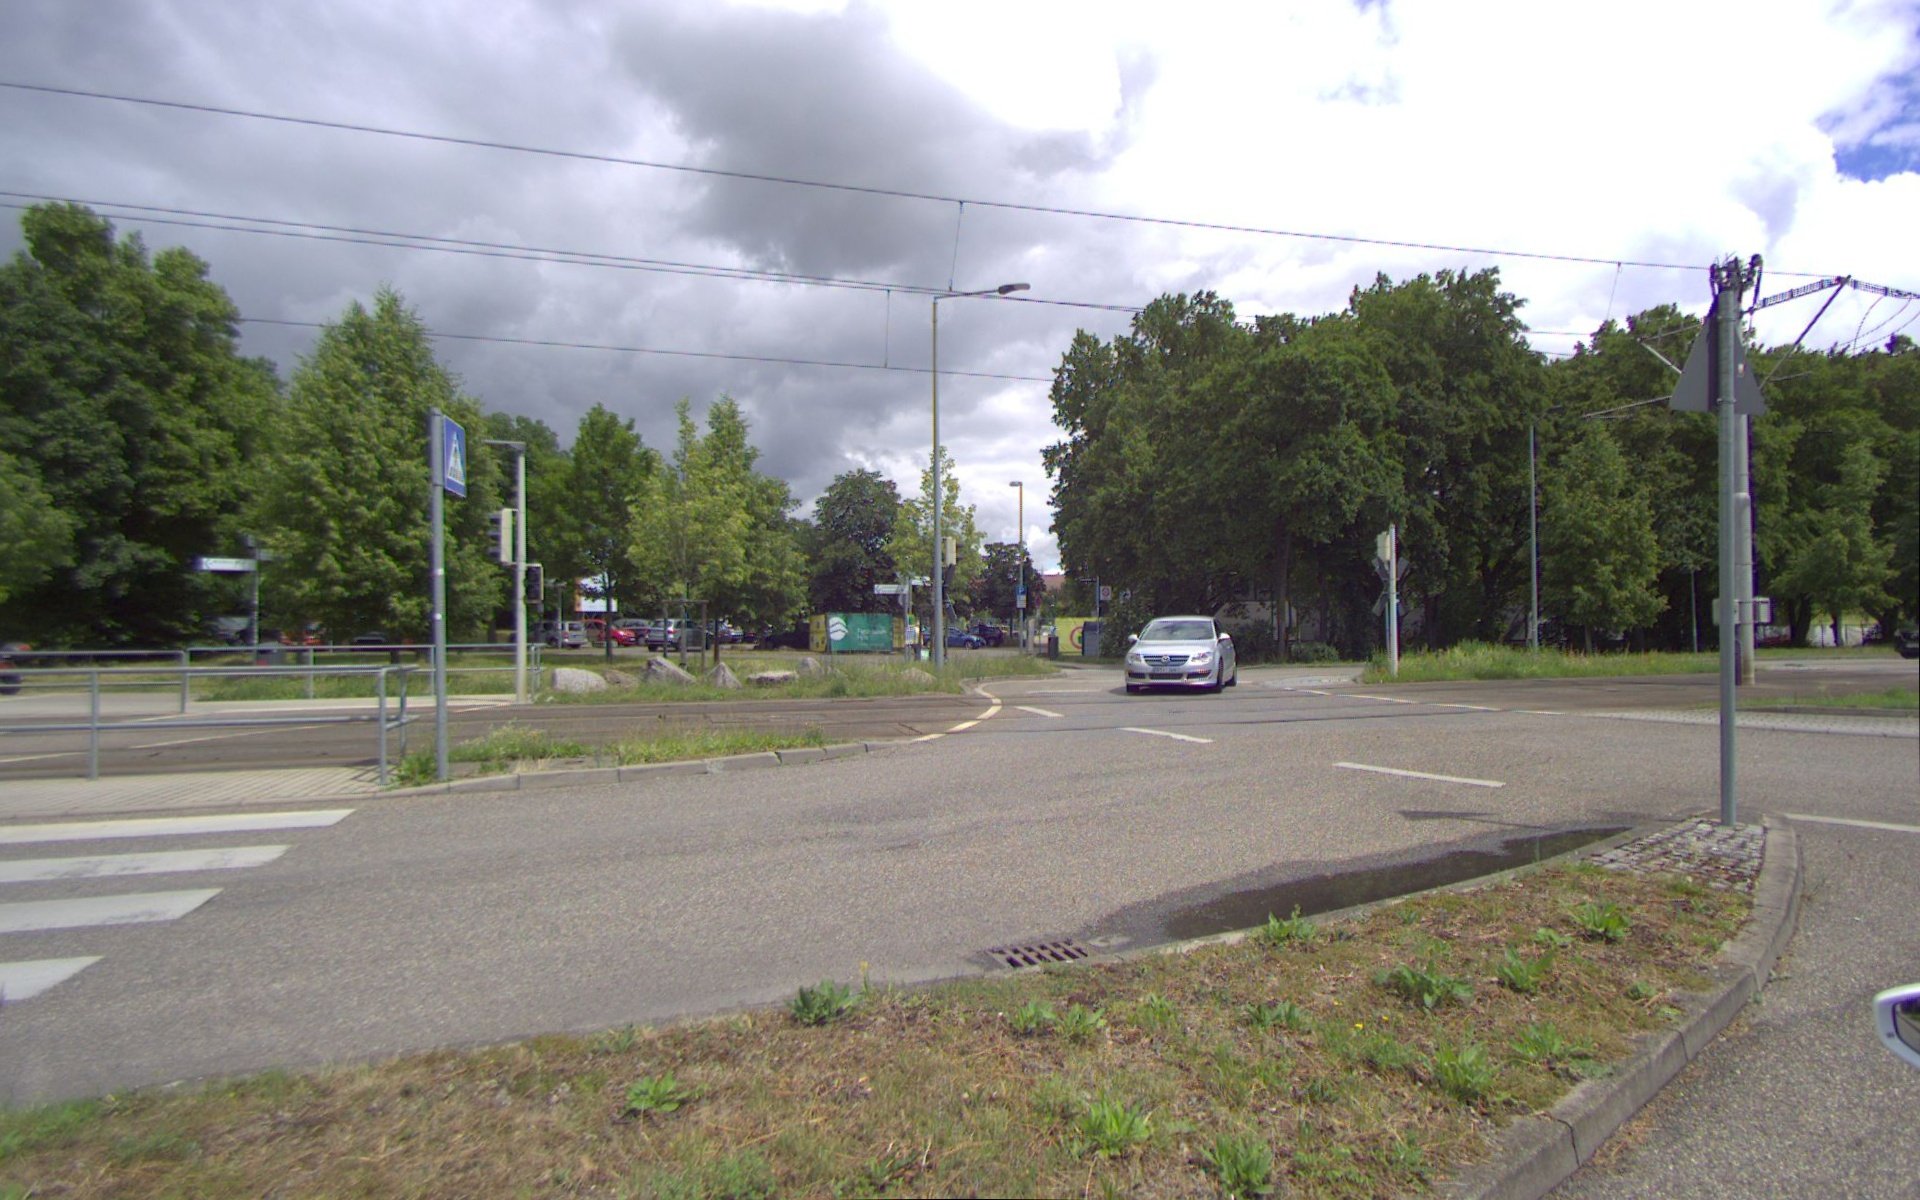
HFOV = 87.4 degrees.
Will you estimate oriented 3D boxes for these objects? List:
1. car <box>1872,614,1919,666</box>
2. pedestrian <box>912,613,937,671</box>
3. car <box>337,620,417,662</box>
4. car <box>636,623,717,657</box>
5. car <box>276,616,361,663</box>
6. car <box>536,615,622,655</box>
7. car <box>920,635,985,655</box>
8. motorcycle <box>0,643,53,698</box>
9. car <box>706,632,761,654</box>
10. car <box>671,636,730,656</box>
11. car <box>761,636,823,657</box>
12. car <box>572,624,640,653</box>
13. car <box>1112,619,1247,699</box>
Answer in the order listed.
[{"bbox_3d":[31.900,1.264,32.036,4.342,1.618,1.996,0,-2,-12],"label":"car"},{"bbox_3d":[-1.252,1.478,35.761,0.805,2.040,0.963,-1,-1,1],"label":"pedestrian"},{"bbox_3d":[-27.490,1.921,47.527,1.964,1.859,3.994,-1,-1,-10],"label":"car"},{"bbox_3d":[-14.485,2.036,51.537,1.960,1.660,4.140,-1,-1,19],"label":"car"},{"bbox_3d":[-29.644,1.796,46.565,1.892,2.040,3.994,-1,-1,-10],"label":"car"},{"bbox_3d":[-20.414,1.872,53.867,3.920,2.040,2.001,-1,-1,17],"label":"car"},{"bbox_3d":[-0.472,2.970,66.332,3.920,1.243,2.051,-1,-1,15],"label":"car"},{"bbox_3d":[-19.750,1.409,20.185,2.176,1.095,0.730,0,-2,-11],"label":"motorcycle"},{"bbox_3d":[-16.121,3.068,71.572,3.513,1.525,1.515,-1,-1,17],"label":"car"},{"bbox_3d":[-17.113,3.014,66.171,3.423,1.270,1.605,-1,-1,17],"label":"car"},{"bbox_3d":[-9.161,2.524,54.902,3.042,1.096,1.417,-1,-1,14],"label":"car"},{"bbox_3d":[-20.123,2.189,57.189,3.410,1.587,1.493,-1,-1,16],"label":"car"},{"bbox_3d":[4.349,1.102,19.519,1.847,1.368,3.829,-2,-2,23],"label":"car"}]
